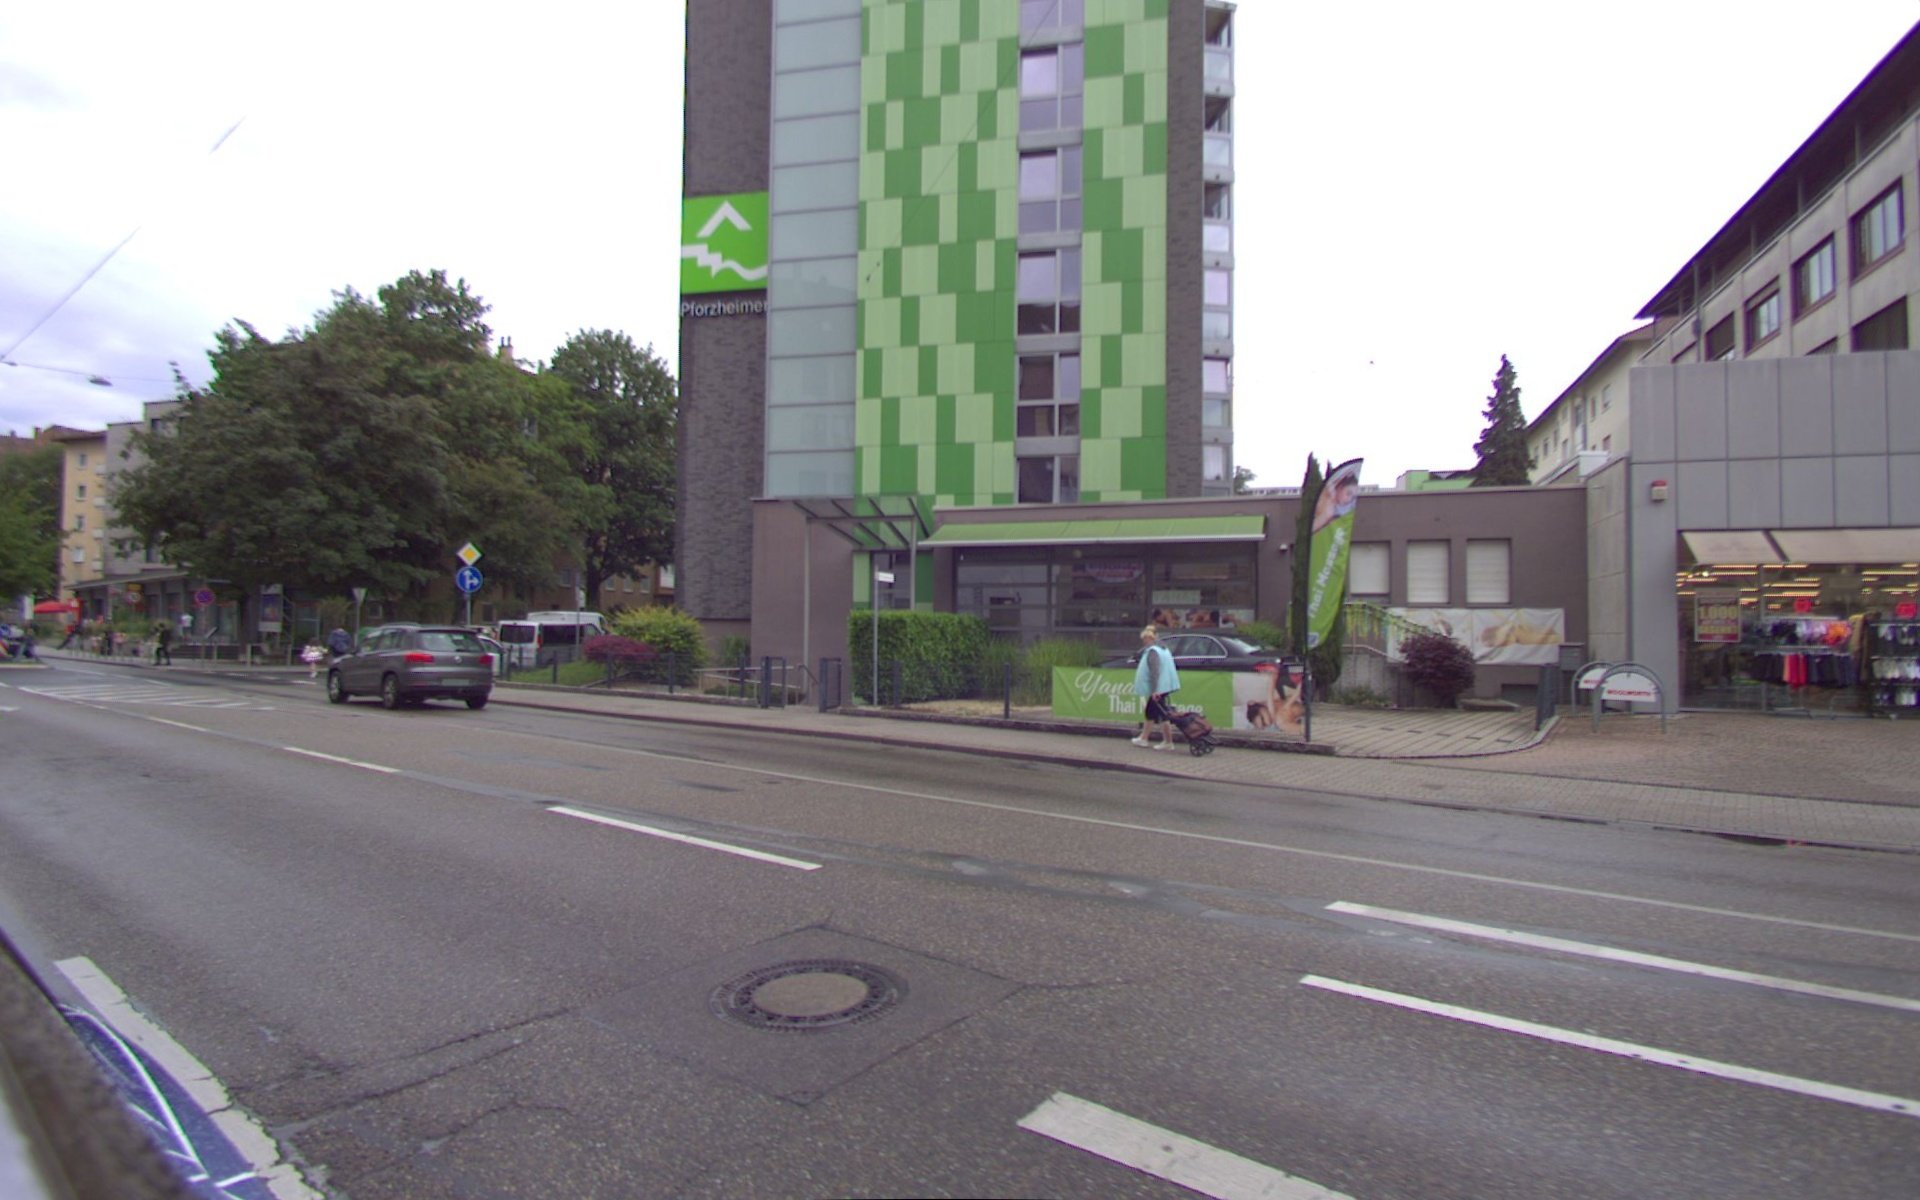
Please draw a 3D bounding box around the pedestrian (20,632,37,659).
[{"bbox_3d":[-63.664,3.101,69.175,0.867,1.833,0.585,-1,-2,30],"label":"pedestrian"}]

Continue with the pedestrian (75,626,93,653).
[{"bbox_3d":[-56.113,2.538,64.822,0.712,1.691,0.706,-2,-3,38],"label":"pedestrian"}]

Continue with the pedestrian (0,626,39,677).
[{"bbox_3d":[-34.508,1.876,37.114,0.847,1.840,0.719,-1,-2,16],"label":"pedestrian"}]

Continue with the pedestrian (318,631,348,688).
[{"bbox_3d":[-19.692,1.866,31.807,0.579,1.775,0.569,-1,-3,33],"label":"pedestrian"}]

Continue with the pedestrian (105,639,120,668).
[{"bbox_3d":[-44.366,2.788,53.001,0.529,1.484,0.455,-1,-2,35],"label":"pedestrian"}]

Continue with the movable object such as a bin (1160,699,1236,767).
[{"bbox_3d":[3.056,1.704,13.021,0.742,0.795,0.734,1,-2,-6],"label":"movable object such as a bin"}]

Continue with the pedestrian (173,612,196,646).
[{"bbox_3d":[-43.657,1.632,56.962,0.714,1.840,0.721,-1,-2,11],"label":"pedestrian"}]

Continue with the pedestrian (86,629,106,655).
[{"bbox_3d":[-54.949,2.673,64.385,0.701,1.691,0.803,1,-2,-23],"label":"pedestrian"}]

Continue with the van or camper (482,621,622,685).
[{"bbox_3d":[-14.447,1.819,36.196,1.982,2.029,4.941,-3,-1,16],"label":"van or camper"}]

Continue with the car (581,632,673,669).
[{"bbox_3d":[-13.764,2.068,42.020,1.980,1.454,3.712,0,-2,13],"label":"car"}]

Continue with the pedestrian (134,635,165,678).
[{"bbox_3d":[-33.696,2.325,42.077,0.714,1.772,0.653,0,-2,16],"label":"pedestrian"}]

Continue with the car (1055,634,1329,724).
[{"bbox_3d":[4.166,1.365,18.760,1.970,1.450,4.656,3,-3,-43],"label":"car"}]

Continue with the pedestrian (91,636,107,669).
[{"bbox_3d":[-44.654,2.698,52.501,0.551,1.686,0.493,-1,-2,35],"label":"pedestrian"}]

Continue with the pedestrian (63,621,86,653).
[{"bbox_3d":[-52.320,2.186,59.798,0.716,1.840,0.718,-1,-2,20],"label":"pedestrian"}]

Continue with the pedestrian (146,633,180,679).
[{"bbox_3d":[-32.765,2.276,41.609,0.690,1.859,0.855,-1,-3,24],"label":"pedestrian"}]

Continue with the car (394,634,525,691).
[{"bbox_3d":[-15.280,1.875,31.117,1.724,1.581,3.573,0,-1,14],"label":"car"}]

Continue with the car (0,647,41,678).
[{"bbox_3d":[-47.111,3.059,49.896,4.495,1.436,1.994,-1,-2,39],"label":"car"}]

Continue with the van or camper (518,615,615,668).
[{"bbox_3d":[-18.382,1.886,47.546,2.187,2.283,4.604,-1,0,10],"label":"van or camper"}]

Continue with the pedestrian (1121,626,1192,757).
[{"bbox_3d":[2.624,1.215,13.566,0.742,1.698,0.749,1,-3,-6],"label":"pedestrian"}]

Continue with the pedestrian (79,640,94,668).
[{"bbox_3d":[-44.991,2.786,52.131,0.480,1.421,0.429,-1,-2,35],"label":"pedestrian"}]

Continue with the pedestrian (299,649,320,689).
[{"bbox_3d":[-20.062,2.116,31.215,0.310,1.207,0.406,-1,-3,32],"label":"pedestrian"}]

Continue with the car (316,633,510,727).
[{"bbox_3d":[-11.000,1.528,20.262,4.051,1.672,1.929,-1,-4,38],"label":"car"}]
